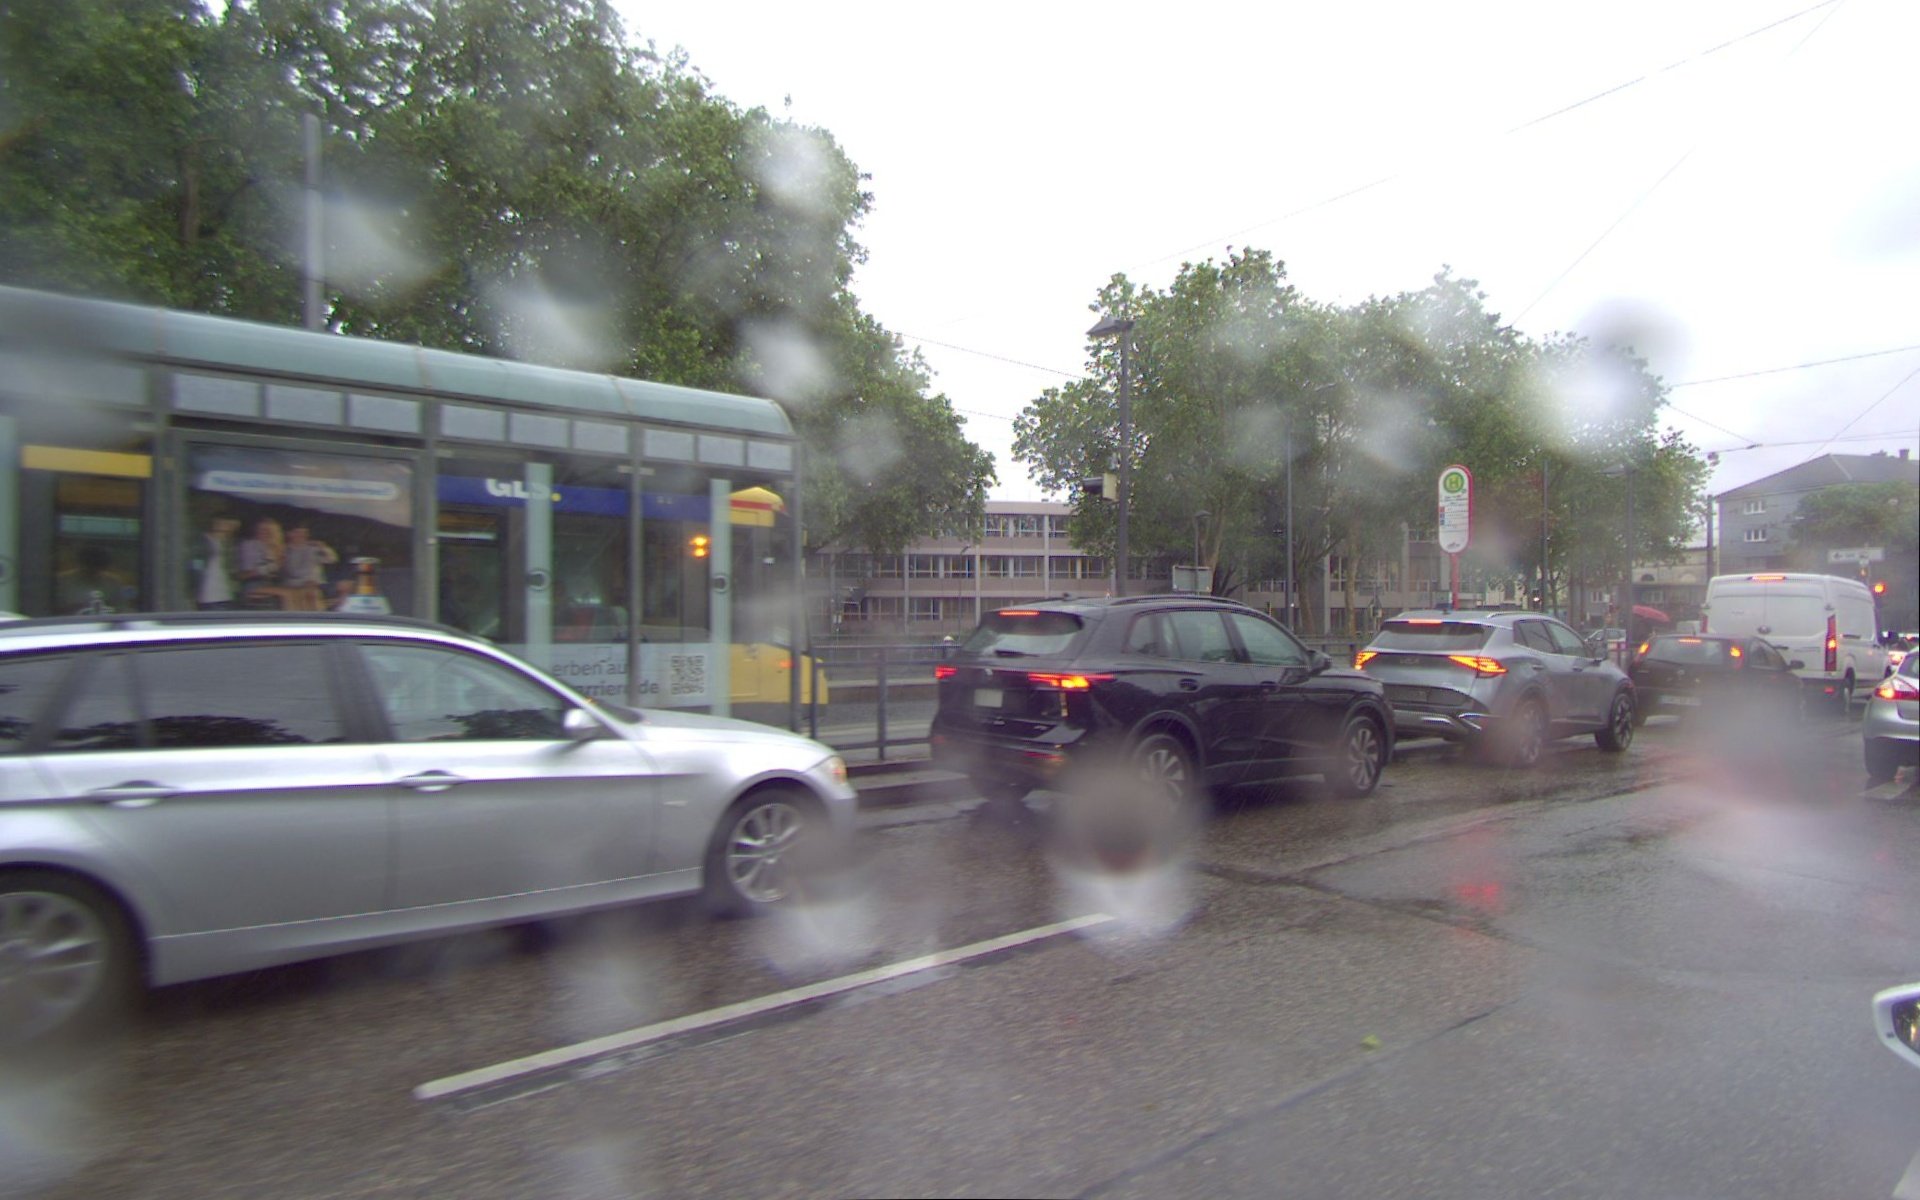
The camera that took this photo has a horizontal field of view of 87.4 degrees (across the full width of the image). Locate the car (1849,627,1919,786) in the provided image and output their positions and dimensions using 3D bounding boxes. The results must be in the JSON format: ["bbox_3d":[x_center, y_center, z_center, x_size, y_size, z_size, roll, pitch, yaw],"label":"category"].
[{"bbox_3d":[10.910,1.081,10.544,3.968,1.497,1.753,2,0,-40],"label":"car"}]

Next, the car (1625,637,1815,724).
[{"bbox_3d":[11.872,1.168,15.593,4.053,1.132,1.451,2,0,-40],"label":"car"}]

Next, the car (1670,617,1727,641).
[{"bbox_3d":[73.150,2.841,99.486,4.707,2.228,1.994,0,1,-15],"label":"car"}]

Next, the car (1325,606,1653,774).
[{"bbox_3d":[6.419,0.955,11.985,4.417,1.645,1.899,2,-2,-39],"label":"car"}]

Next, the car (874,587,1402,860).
[{"bbox_3d":[1.619,0.801,8.196,4.285,1.642,1.977,2,-1,-40],"label":"car"}]

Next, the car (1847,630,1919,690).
[{"bbox_3d":[26.254,1.633,27.815,3.964,1.504,1.830,2,0,-38],"label":"car"}]

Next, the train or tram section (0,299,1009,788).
[{"bbox_3d":[-6.390,-0.392,9.754,15.377,3.458,3.511,2,1,-40],"label":"train or tram section"}]

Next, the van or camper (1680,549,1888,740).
[{"bbox_3d":[16.094,0.825,19.486,5.804,3.183,2.140,2,-2,-40],"label":"van or camper"}]

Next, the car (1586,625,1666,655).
[{"bbox_3d":[31.801,1.916,47.952,3.475,1.331,1.590,2,0,-24],"label":"car"}]

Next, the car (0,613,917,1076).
[{"bbox_3d":[-2.596,0.797,4.660,4.569,1.413,1.977,2,-2,-40],"label":"car"}]

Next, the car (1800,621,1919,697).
[{"bbox_3d":[21.448,1.345,23.808,3.803,1.650,1.632,2,-1,-39],"label":"car"}]
